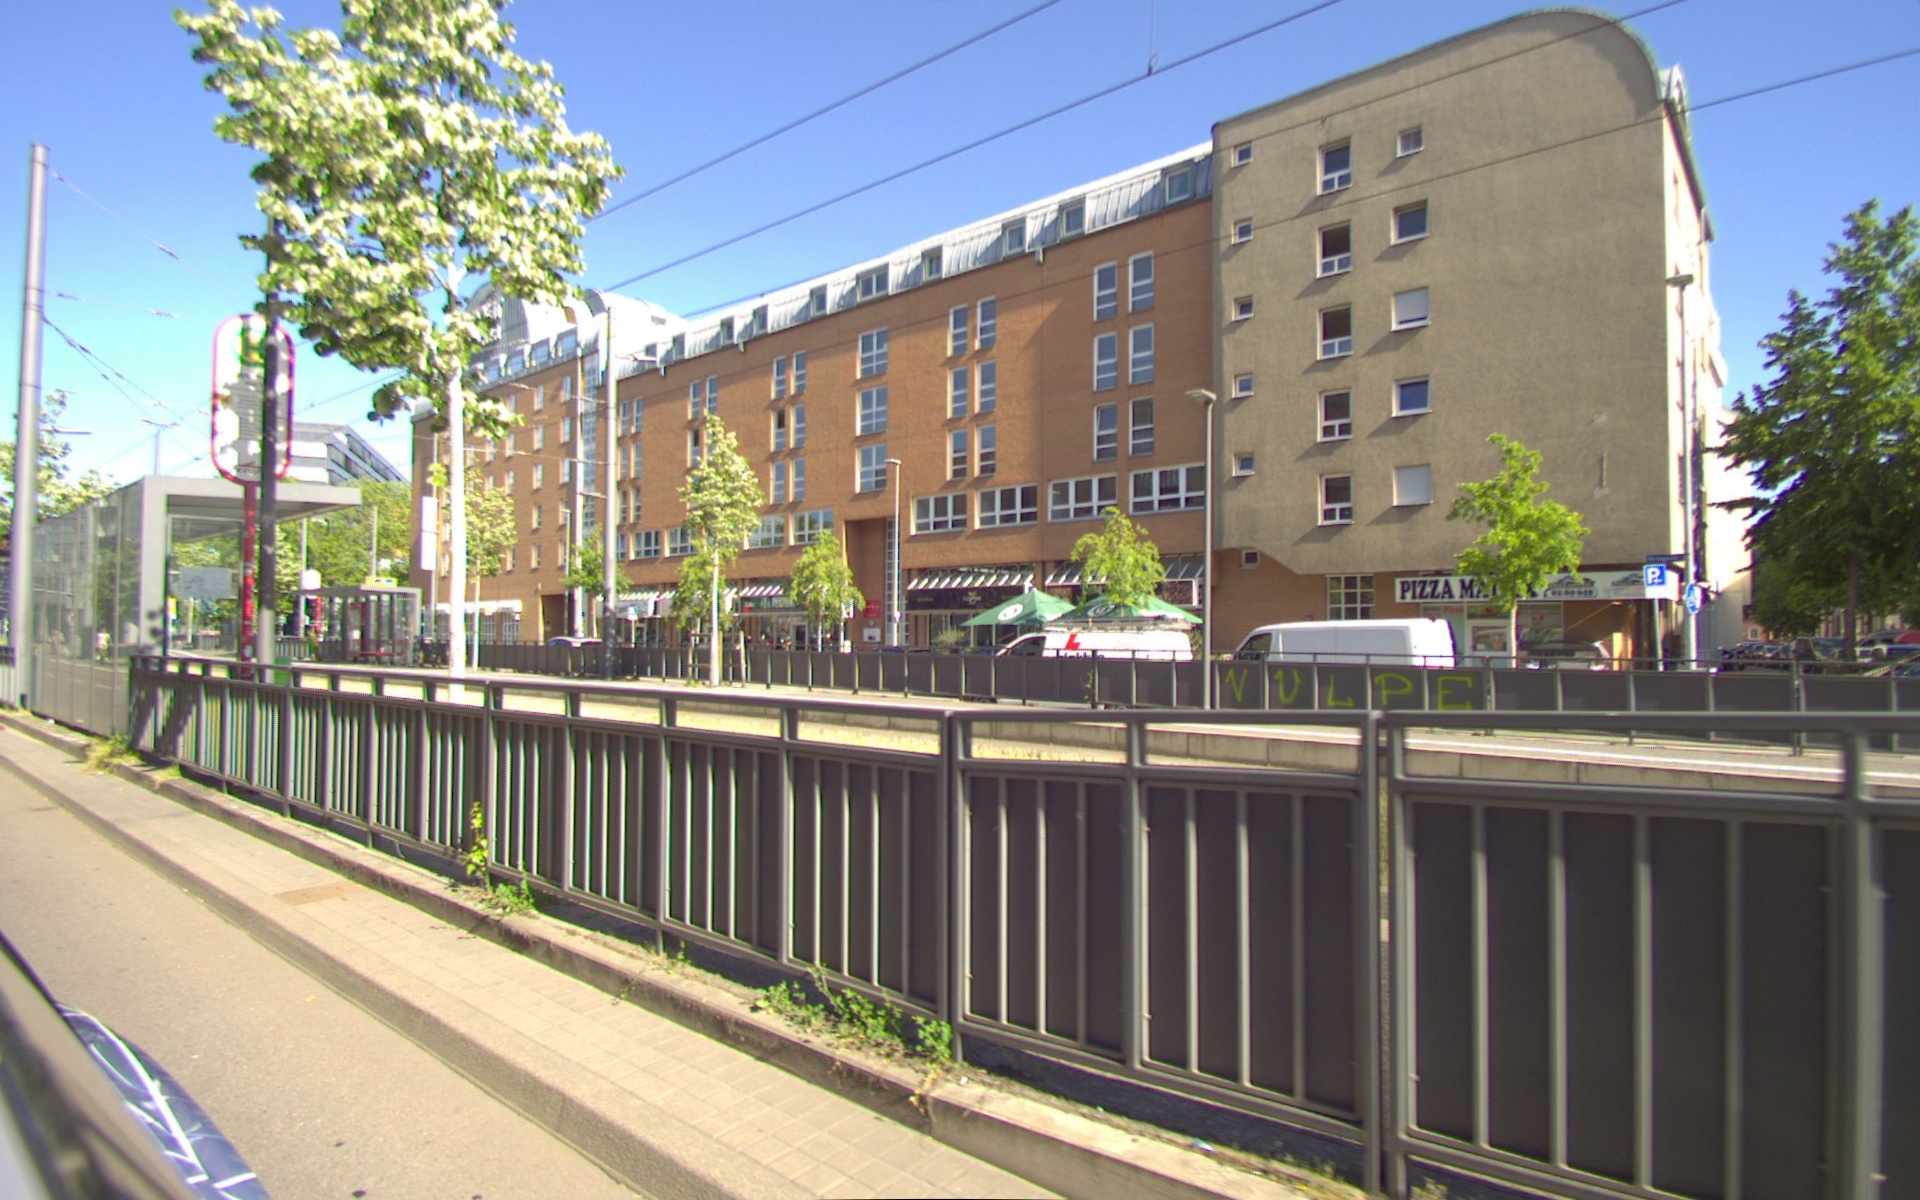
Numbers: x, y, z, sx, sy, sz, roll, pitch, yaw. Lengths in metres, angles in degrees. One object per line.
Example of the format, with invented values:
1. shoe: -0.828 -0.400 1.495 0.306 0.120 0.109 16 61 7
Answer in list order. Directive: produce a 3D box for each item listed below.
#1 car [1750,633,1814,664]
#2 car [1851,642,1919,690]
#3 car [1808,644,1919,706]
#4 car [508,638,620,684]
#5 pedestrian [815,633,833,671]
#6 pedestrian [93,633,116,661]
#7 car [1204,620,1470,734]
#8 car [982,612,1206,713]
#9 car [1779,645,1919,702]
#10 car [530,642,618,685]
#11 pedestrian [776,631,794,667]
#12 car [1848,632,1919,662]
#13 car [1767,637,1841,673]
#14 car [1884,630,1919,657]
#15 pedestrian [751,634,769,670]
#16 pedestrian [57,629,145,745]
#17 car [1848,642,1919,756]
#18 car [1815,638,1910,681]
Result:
1. car: 46.512 2.735 57.341 1.947 1.674 3.963 -1 -3 27
2. car: 35.015 2.406 37.551 1.947 1.674 3.963 -1 -3 27
3. car: 23.477 1.812 24.634 3.980 1.462 1.769 -1 -3 27
4. car: -12.741 1.913 32.503 3.957 1.296 1.677 -1 -1 40
5. pedestrian: -6.653 2.549 49.534 0.644 1.854 0.614 -2 -3 41
6. pedestrian: -53.286 2.901 63.017 1.006 1.702 0.947 -2 -3 42
7. car: 8.783 1.725 24.092 1.969 2.388 5.652 1 -3 -42
8. car: 2.595 1.147 20.100 4.086 1.808 1.801 -1 -1 40
9. car: 24.721 1.946 27.105 3.980 1.462 1.769 -1 -3 27
10. car: -16.998 2.765 44.548 3.998 1.696 1.973 -1 -1 41
11. pedestrian: -9.113 2.569 52.709 0.644 1.854 0.614 -2 -3 39
12. car: 67.107 3.371 72.762 4.557 2.116 2.024 -1 -3 32
13. car: 41.669 2.697 50.064 1.947 1.674 3.963 -1 -3 27
14. car: 62.640 2.804 64.975 4.557 1.745 2.024 -1 -3 32
15. pedestrian: -10.320 2.678 52.187 0.644 1.854 0.614 -2 -3 39
16. pedestrian: -11.923 1.177 14.049 0.798 1.548 0.804 -2 -3 42
17. car: 16.515 1.543 15.706 3.996 1.773 1.796 -2 -3 40
18. car: 37.281 2.414 41.925 1.947 1.674 3.963 -1 -3 27
